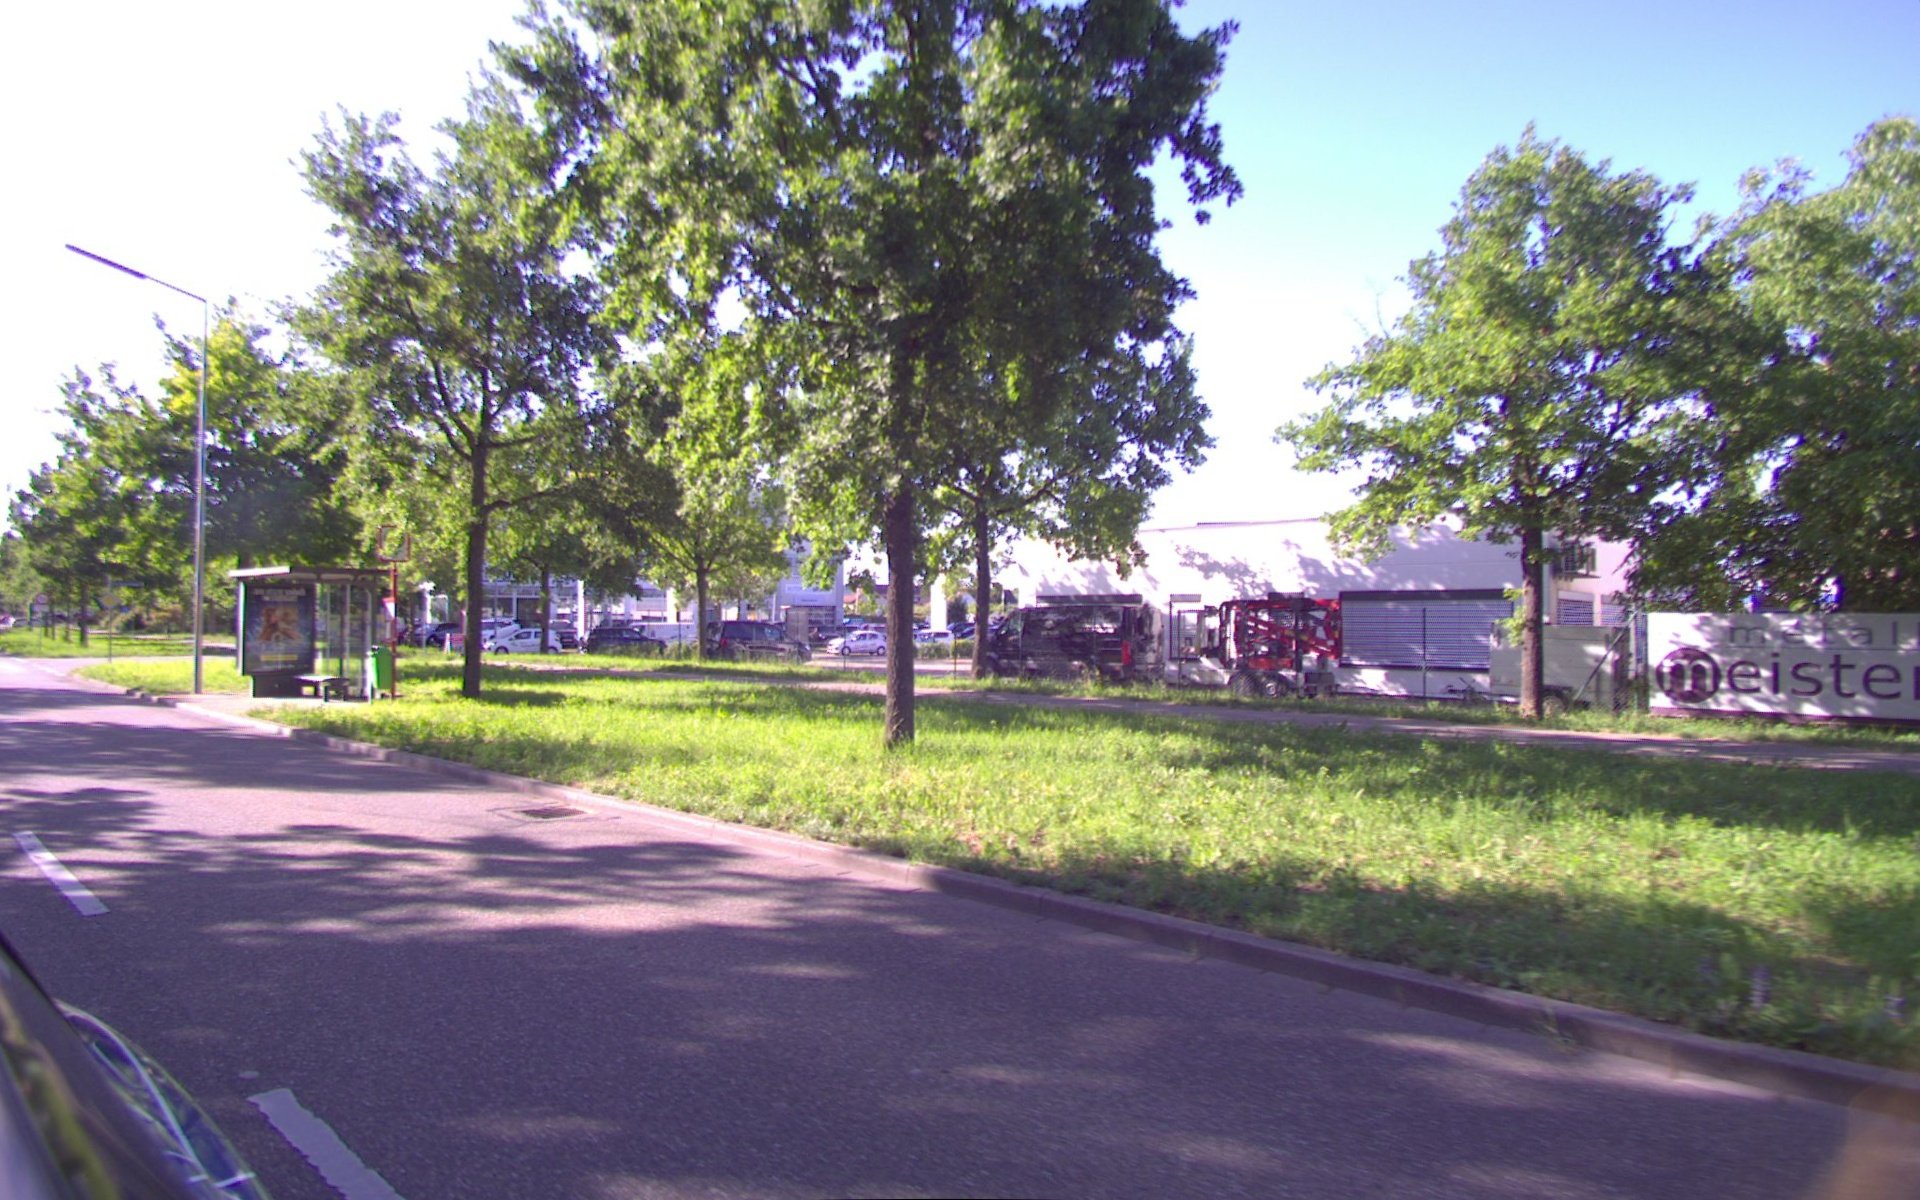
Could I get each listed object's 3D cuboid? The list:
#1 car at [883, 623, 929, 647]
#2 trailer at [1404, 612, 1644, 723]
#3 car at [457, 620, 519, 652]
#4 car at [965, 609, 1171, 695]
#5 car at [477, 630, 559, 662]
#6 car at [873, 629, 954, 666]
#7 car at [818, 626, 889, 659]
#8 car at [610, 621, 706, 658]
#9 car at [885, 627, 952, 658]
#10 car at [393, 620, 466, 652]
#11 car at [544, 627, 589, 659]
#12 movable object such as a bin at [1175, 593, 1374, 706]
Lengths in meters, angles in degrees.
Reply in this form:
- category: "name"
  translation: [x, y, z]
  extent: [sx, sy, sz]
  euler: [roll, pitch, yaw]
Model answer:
- category: "car"
  translation: [-4.187, 2.639, 78.066]
  extent: [1.966, 1.694, 4.013]
  euler: [-1, 0, -29]
- category: "trailer"
  translation: [11.403, 1.300, 20.621]
  extent: [3.964, 2.029, 1.735]
  euler: [-2, -2, 43]
- category: "car"
  translation: [-29.315, 2.200, 62.974]
  extent: [1.972, 1.851, 3.999]
  euler: [-1, 0, 1]
- category: "car"
  translation: [2.910, 1.400, 28.396]
  extent: [5.669, 2.191, 1.972]
  euler: [-1, -2, 42]
- category: "car"
  translation: [-23.418, 2.411, 53.597]
  extent: [3.827, 1.513, 2.006]
  euler: [-1, 0, -28]
- category: "car"
  translation: [-2.554, 2.569, 55.448]
  extent: [3.933, 1.851, 2.005]
  euler: [-1, 0, -33]
- category: "car"
  translation: [-6.725, 2.649, 63.878]
  extent: [3.932, 1.851, 2.006]
  euler: [-1, 0, -32]
- category: "car"
  translation: [-17.164, 2.212, 57.495]
  extent: [4.963, 1.851, 2.007]
  euler: [-1, 0, -26]
- category: "car"
  translation: [-2.731, 2.743, 66.433]
  extent: [3.932, 1.851, 2.006]
  euler: [-1, 0, -32]
- category: "car"
  translation: [-34.094, 2.283, 65.145]
  extent: [1.983, 1.851, 3.977]
  euler: [-1, 0, 17]
- category: "car"
  translation: [-25.034, 2.683, 64.547]
  extent: [1.967, 1.851, 4.009]
  euler: [-1, 0, -11]
- category: "movable object such as a bin"
  translation: [7.688, 1.134, 24.946]
  extent: [4.235, 2.535, 1.972]
  euler: [-1, 0, 42]
